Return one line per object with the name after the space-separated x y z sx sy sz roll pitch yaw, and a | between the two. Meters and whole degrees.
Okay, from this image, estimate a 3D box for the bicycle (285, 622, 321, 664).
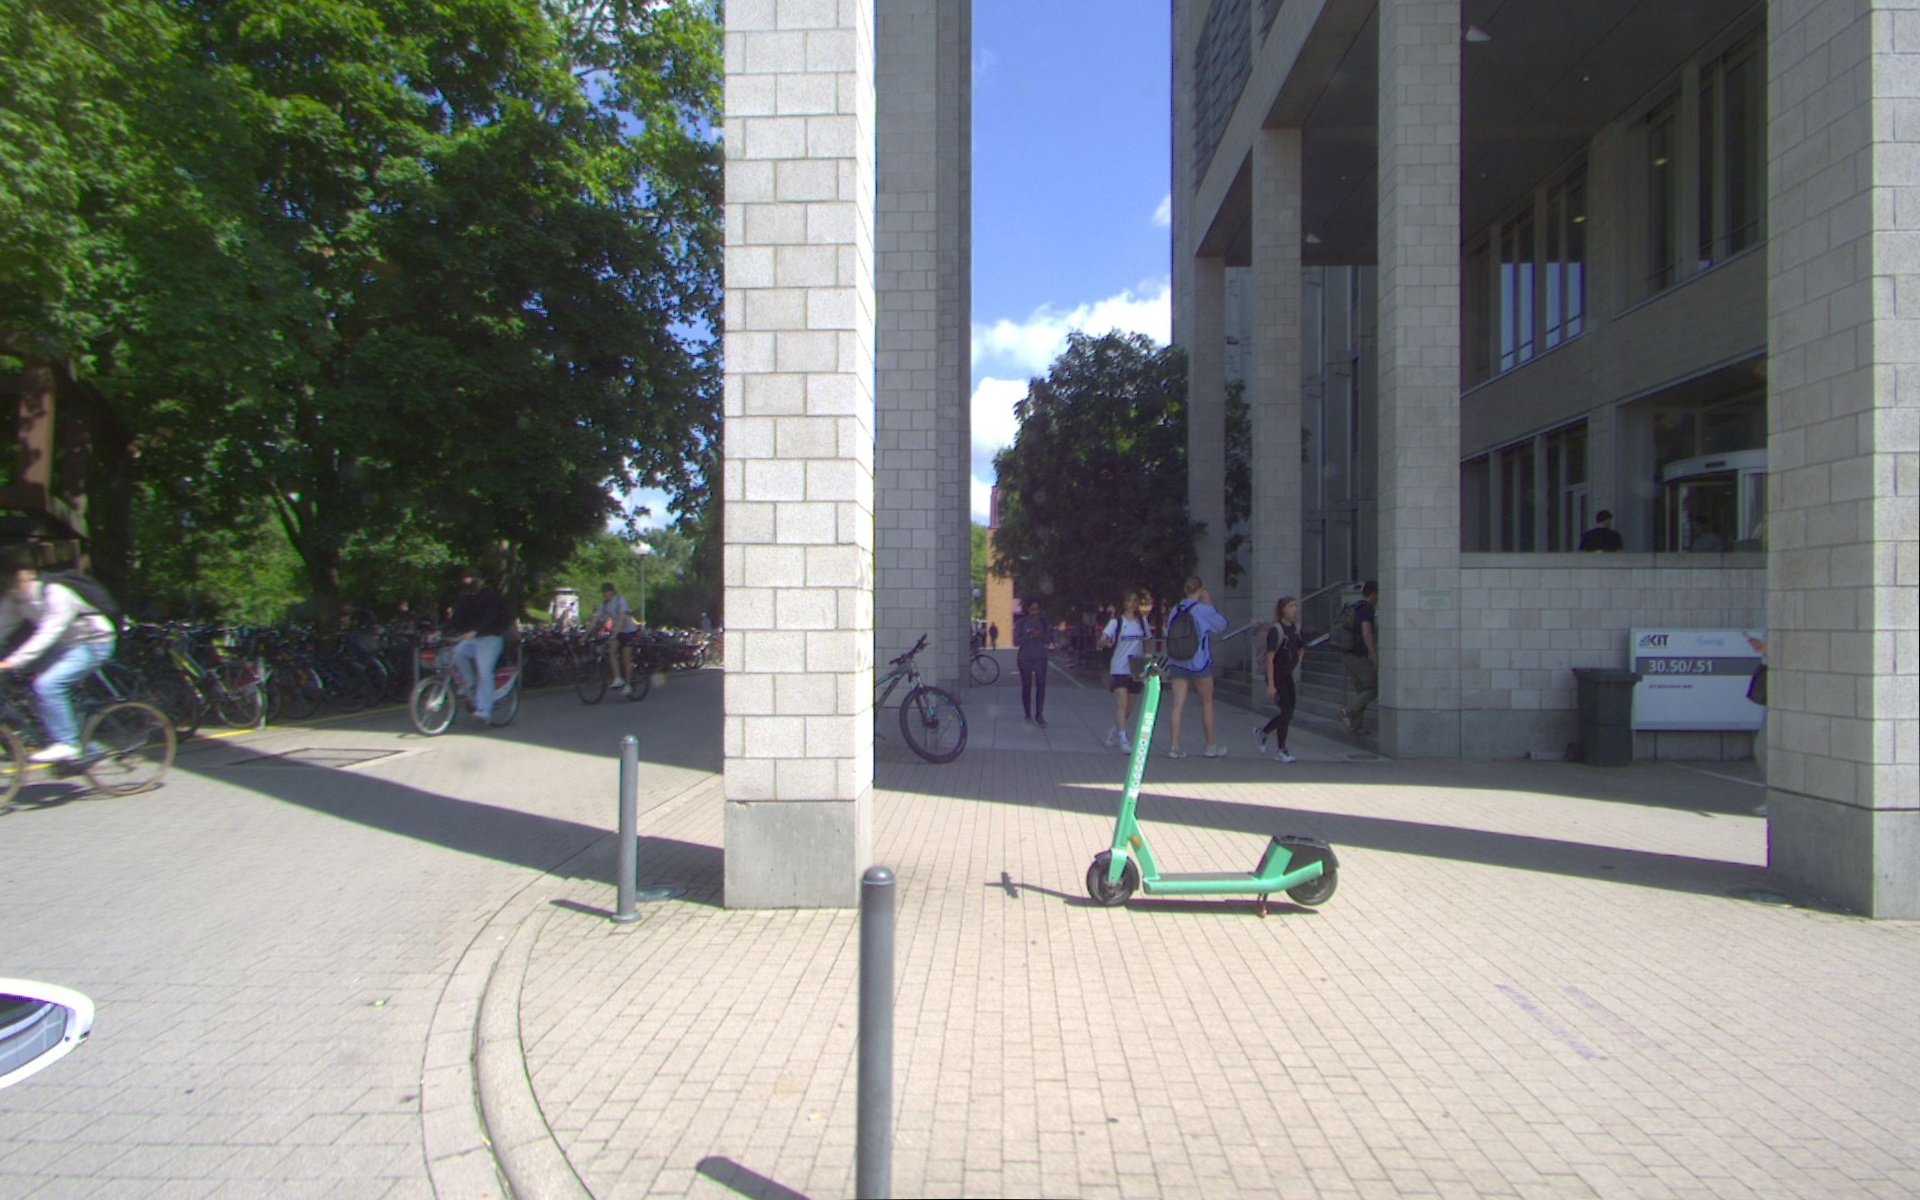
-17.820 1.162 27.161 0.470 1.097 1.682 2 -2 -44 | bicycle

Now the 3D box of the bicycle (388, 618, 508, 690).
-8.490 0.891 16.620 1.694 1.122 0.719 1 -1 14 | bicycle

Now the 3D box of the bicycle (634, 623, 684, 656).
-10.672 1.382 35.506 1.668 1.124 0.474 1 -1 15 | bicycle

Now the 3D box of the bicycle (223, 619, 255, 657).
-22.519 1.175 31.262 1.759 1.124 0.513 0 -2 45 | bicycle

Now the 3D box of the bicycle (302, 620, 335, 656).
-20.762 1.216 32.403 1.759 1.124 0.513 0 -2 45 | bicycle

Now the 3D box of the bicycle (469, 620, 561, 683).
-8.281 0.954 18.653 1.600 1.122 0.496 1 -1 17 | bicycle

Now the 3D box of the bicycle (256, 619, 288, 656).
-21.822 1.179 31.752 1.759 1.124 0.513 0 -2 45 | bicycle

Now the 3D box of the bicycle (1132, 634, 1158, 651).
13.505 3.099 73.050 1.780 1.124 0.524 2 -1 6 | bicycle

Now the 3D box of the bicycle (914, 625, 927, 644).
-2.547 2.243 65.192 0.759 1.164 2.110 0 -3 0 | bicycle

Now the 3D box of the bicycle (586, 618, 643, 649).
-12.444 1.206 36.107 1.873 1.061 0.541 1 1 -11 | bicycle

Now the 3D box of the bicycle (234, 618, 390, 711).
-8.372 0.818 12.967 1.598 1.122 0.691 1 -1 8 | bicycle

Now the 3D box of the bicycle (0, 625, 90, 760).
-8.597 0.787 8.745 1.598 1.123 0.497 0 1 2 | bicycle

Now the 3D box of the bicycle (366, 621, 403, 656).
-19.433 1.286 33.808 1.757 1.124 0.513 0 -2 42 | bicycle

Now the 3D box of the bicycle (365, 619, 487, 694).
-8.329 0.878 15.651 1.598 1.122 0.497 1 -1 -2 | bicycle

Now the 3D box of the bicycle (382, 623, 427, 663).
-16.004 1.229 28.835 1.678 1.097 0.471 0 -2 38 | bicycle

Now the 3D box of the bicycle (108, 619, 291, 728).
-8.432 0.801 11.129 1.598 1.122 0.629 1 -1 7 | bicycle

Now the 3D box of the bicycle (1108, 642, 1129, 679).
4.094 1.560 25.950 0.286 0.917 1.448 0 -1 -1 | bicycle

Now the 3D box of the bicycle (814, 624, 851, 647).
-6.484 1.829 50.958 1.810 1.124 0.474 2 -1 -8 | bicycle

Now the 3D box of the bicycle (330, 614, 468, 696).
-8.474 0.829 15.162 1.750 1.176 0.497 1 -1 -2 | bicycle

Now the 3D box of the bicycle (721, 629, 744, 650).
-11.458 1.986 50.444 0.469 1.060 1.686 2 -2 -38 | bicycle

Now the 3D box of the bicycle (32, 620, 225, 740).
-8.281 0.779 9.986 1.598 1.122 0.497 1 -1 8 | bicycle

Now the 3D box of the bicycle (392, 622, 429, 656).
-18.949 1.344 34.523 1.757 1.124 0.513 0 -2 42 | bicycle

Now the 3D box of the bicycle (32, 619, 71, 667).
-21.708 1.018 23.949 0.468 1.097 1.687 2 -2 -36 | bicycle

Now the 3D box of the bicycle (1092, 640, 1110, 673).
4.134 1.653 29.382 0.286 0.917 1.448 0 -1 -1 | bicycle

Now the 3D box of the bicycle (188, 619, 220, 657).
-23.047 1.141 30.525 1.759 1.124 0.513 0 -2 45 | bicycle

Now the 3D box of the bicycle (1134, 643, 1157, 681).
4.763 1.582 25.773 0.286 0.917 1.448 0 -1 -1 | bicycle

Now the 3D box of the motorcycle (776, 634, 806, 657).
-8.864 2.383 52.544 0.470 1.060 2.005 2 -1 -44 | motorcycle

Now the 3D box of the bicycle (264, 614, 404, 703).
-8.586 0.795 13.762 1.598 1.165 0.497 1 -1 3 | bicycle

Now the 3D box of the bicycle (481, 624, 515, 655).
-17.044 1.450 36.924 1.757 1.124 0.470 0 -2 42 | bicycle

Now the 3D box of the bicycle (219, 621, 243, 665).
-18.892 1.102 25.956 0.468 1.097 1.687 2 -2 -36 | bicycle

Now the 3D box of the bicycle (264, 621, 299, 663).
-18.124 1.110 26.736 0.470 1.097 1.682 2 -2 -44 | bicycle

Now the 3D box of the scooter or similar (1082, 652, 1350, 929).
1.139 0.835 4.601 1.136 1.166 0.444 0 0 7 | scooter or similar

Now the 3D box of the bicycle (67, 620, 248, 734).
-8.454 0.795 10.566 1.598 1.122 0.497 1 -1 8 | bicycle

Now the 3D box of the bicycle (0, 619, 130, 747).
-8.775 0.763 9.532 1.599 1.123 0.496 1 1 15 | bicycle

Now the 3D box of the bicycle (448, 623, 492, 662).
-14.705 1.269 30.051 1.678 1.097 0.471 0 -2 38 | bicycle

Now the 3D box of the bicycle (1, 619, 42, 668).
-22.095 1.008 23.599 0.468 1.097 1.687 2 -2 -36 | bicycle

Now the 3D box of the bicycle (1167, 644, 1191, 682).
5.617 1.596 25.725 0.286 0.917 1.448 0 -1 -1 | bicycle

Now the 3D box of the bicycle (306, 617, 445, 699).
-8.454 0.840 14.525 1.598 1.122 0.645 1 -1 -2 | bicycle

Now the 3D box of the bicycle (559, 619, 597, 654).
-12.453 1.182 32.604 1.682 1.097 0.470 0 -2 45 | bicycle

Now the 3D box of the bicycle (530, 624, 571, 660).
-13.126 1.343 32.081 1.680 1.097 0.470 0 -2 41 | bicycle

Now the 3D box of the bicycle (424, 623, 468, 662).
-15.185 1.246 29.560 1.678 1.097 0.471 0 -2 38 | bicycle

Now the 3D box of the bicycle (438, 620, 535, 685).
-8.574 0.940 18.130 1.600 1.122 0.562 1 -1 17 | bicycle

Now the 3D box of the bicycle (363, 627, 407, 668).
-16.308 1.342 28.394 1.678 1.097 0.471 0 -2 38 | bicycle

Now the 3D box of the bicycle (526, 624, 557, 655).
-15.786 1.472 37.760 0.469 1.124 1.761 2 -2 -43 | bicycle

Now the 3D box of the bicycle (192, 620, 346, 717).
-8.442 0.826 12.248 1.598 1.122 0.497 1 -1 8 | bicycle

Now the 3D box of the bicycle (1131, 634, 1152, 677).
4.936 1.501 27.263 0.286 1.143 1.448 0 -1 -1 | bicycle

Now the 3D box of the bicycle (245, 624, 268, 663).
-18.439 1.124 26.231 0.446 0.974 1.728 2 -2 -36 | bicycle

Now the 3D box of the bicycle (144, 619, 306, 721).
-8.579 0.808 11.706 1.598 1.122 0.506 1 -1 8 | bicycle
